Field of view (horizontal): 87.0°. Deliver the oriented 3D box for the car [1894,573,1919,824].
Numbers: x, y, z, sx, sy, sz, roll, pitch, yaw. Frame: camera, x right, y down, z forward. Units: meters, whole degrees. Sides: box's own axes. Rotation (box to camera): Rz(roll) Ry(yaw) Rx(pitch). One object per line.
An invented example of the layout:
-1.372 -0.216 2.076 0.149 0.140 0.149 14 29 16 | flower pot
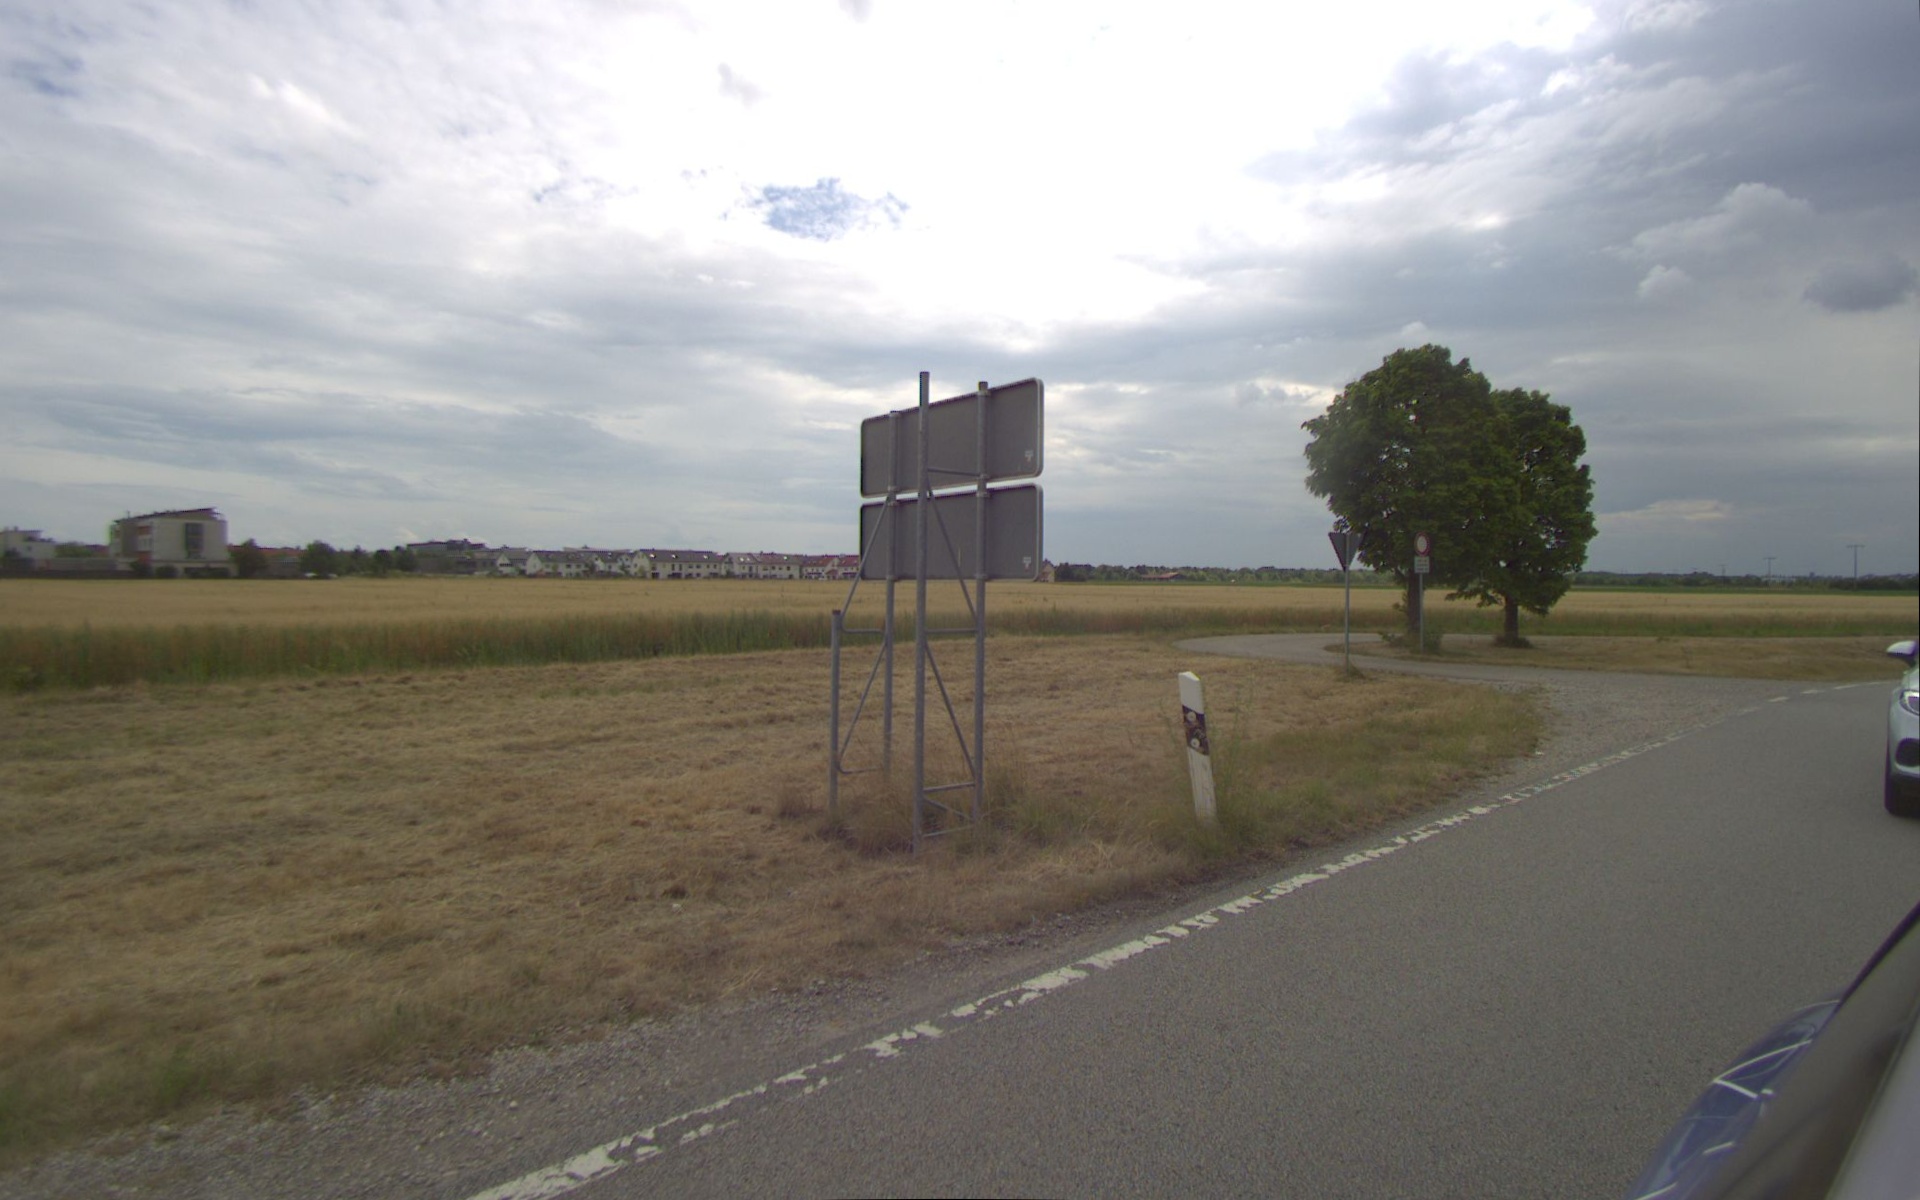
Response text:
8.296 0.667 7.364 4.374 1.606 1.834 0 2 -43 | car
